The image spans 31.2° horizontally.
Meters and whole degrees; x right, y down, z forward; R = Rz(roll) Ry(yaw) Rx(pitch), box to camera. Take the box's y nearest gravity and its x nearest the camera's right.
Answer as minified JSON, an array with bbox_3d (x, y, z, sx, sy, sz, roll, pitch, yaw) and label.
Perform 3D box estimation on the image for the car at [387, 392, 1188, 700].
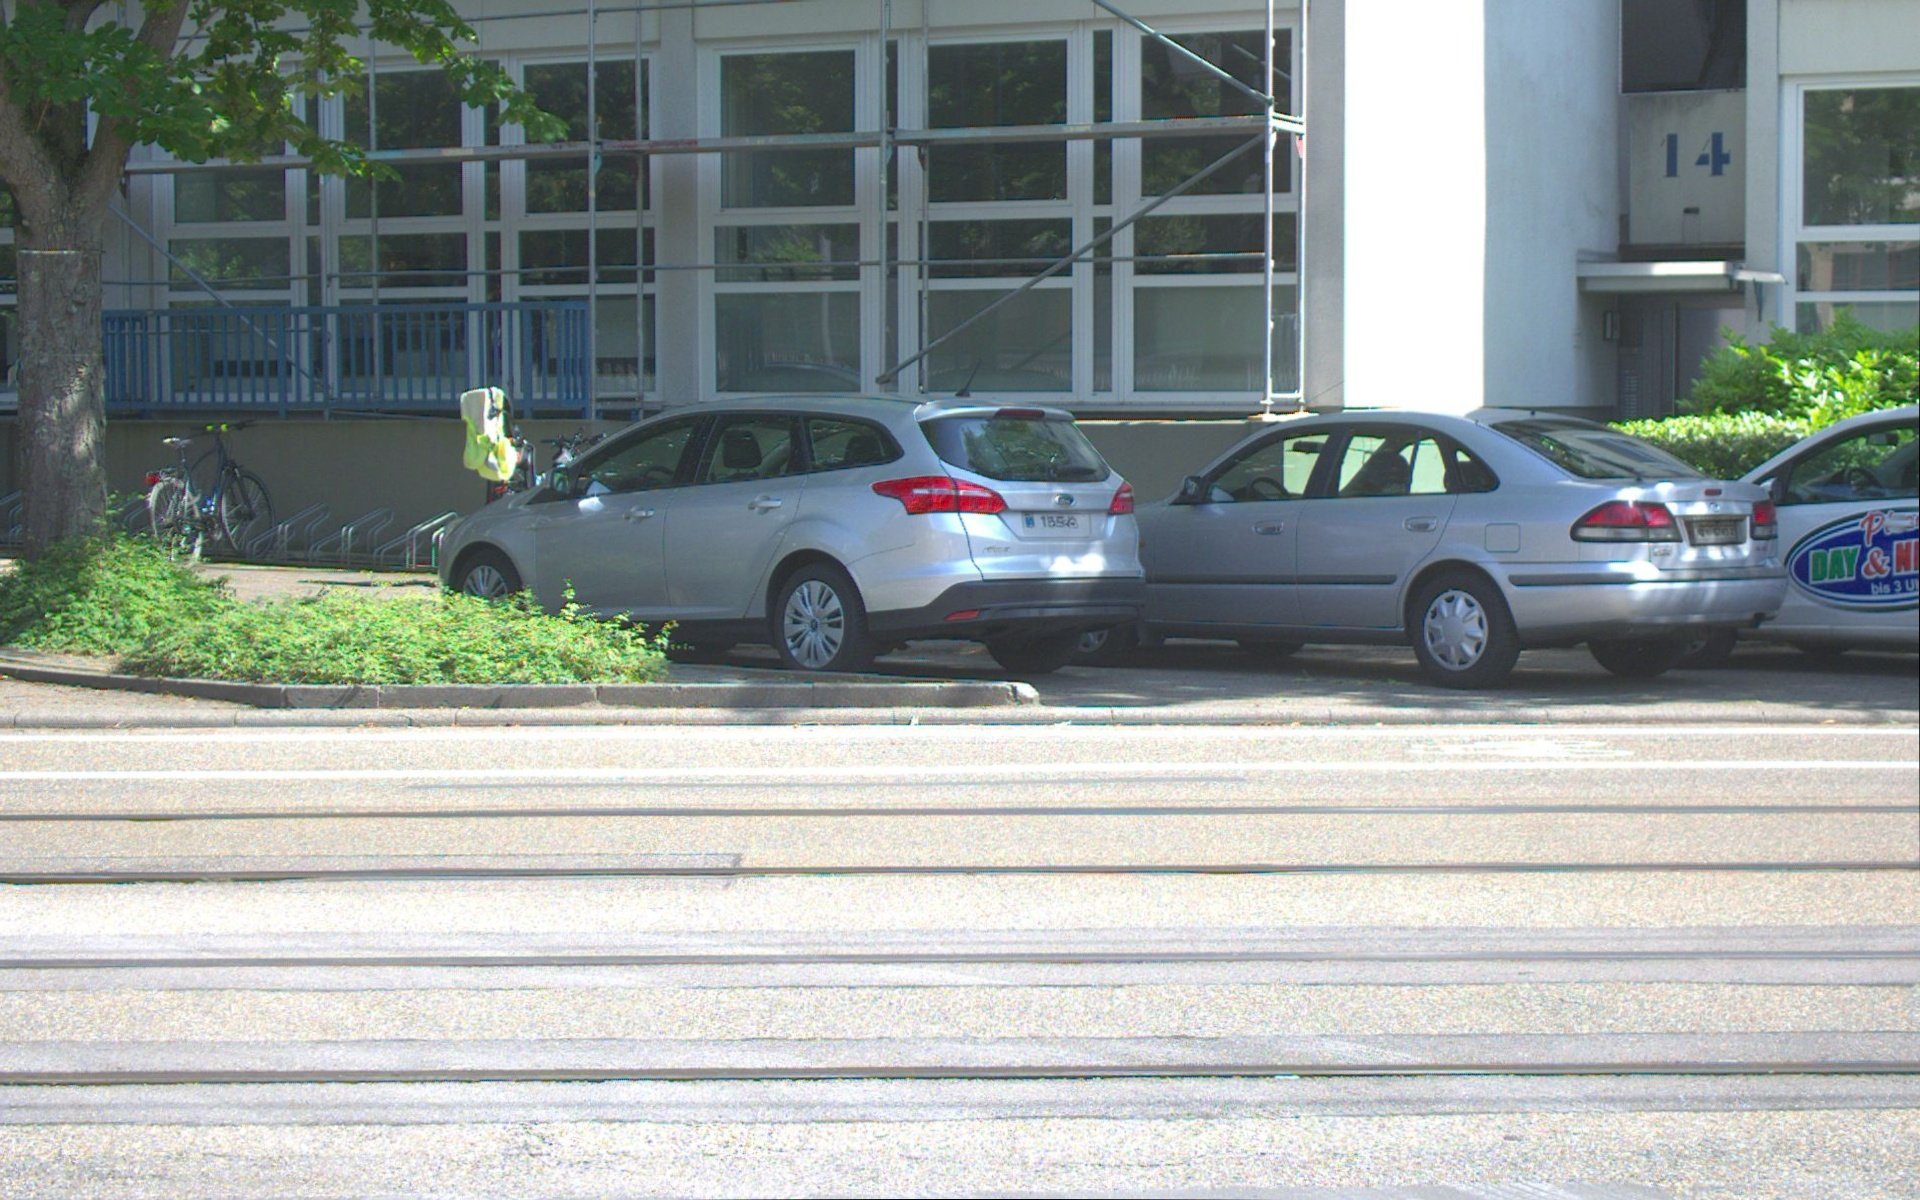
[{"bbox_3d":[-1.040,-0.387,18.700,4.433,1.481,1.780,3,5,43],"label":"car"}]

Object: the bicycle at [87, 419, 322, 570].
[{"bbox_3d":[-5.689,-0.822,26.047,0.741,1.082,2.202,1,3,17],"label":"bicycle"}]

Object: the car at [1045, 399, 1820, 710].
[{"bbox_3d":[2.430,-0.329,18.410,1.609,1.481,3.943,-3,5,-44],"label":"car"}]

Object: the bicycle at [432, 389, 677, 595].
[{"bbox_3d":[-2.941,-0.817,25.163,0.662,1.448,2.087,2,4,30],"label":"bicycle"}]

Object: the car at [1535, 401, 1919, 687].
[{"bbox_3d":[5.229,-0.335,18.687,3.943,1.481,1.609,2,4,45],"label":"car"}]
